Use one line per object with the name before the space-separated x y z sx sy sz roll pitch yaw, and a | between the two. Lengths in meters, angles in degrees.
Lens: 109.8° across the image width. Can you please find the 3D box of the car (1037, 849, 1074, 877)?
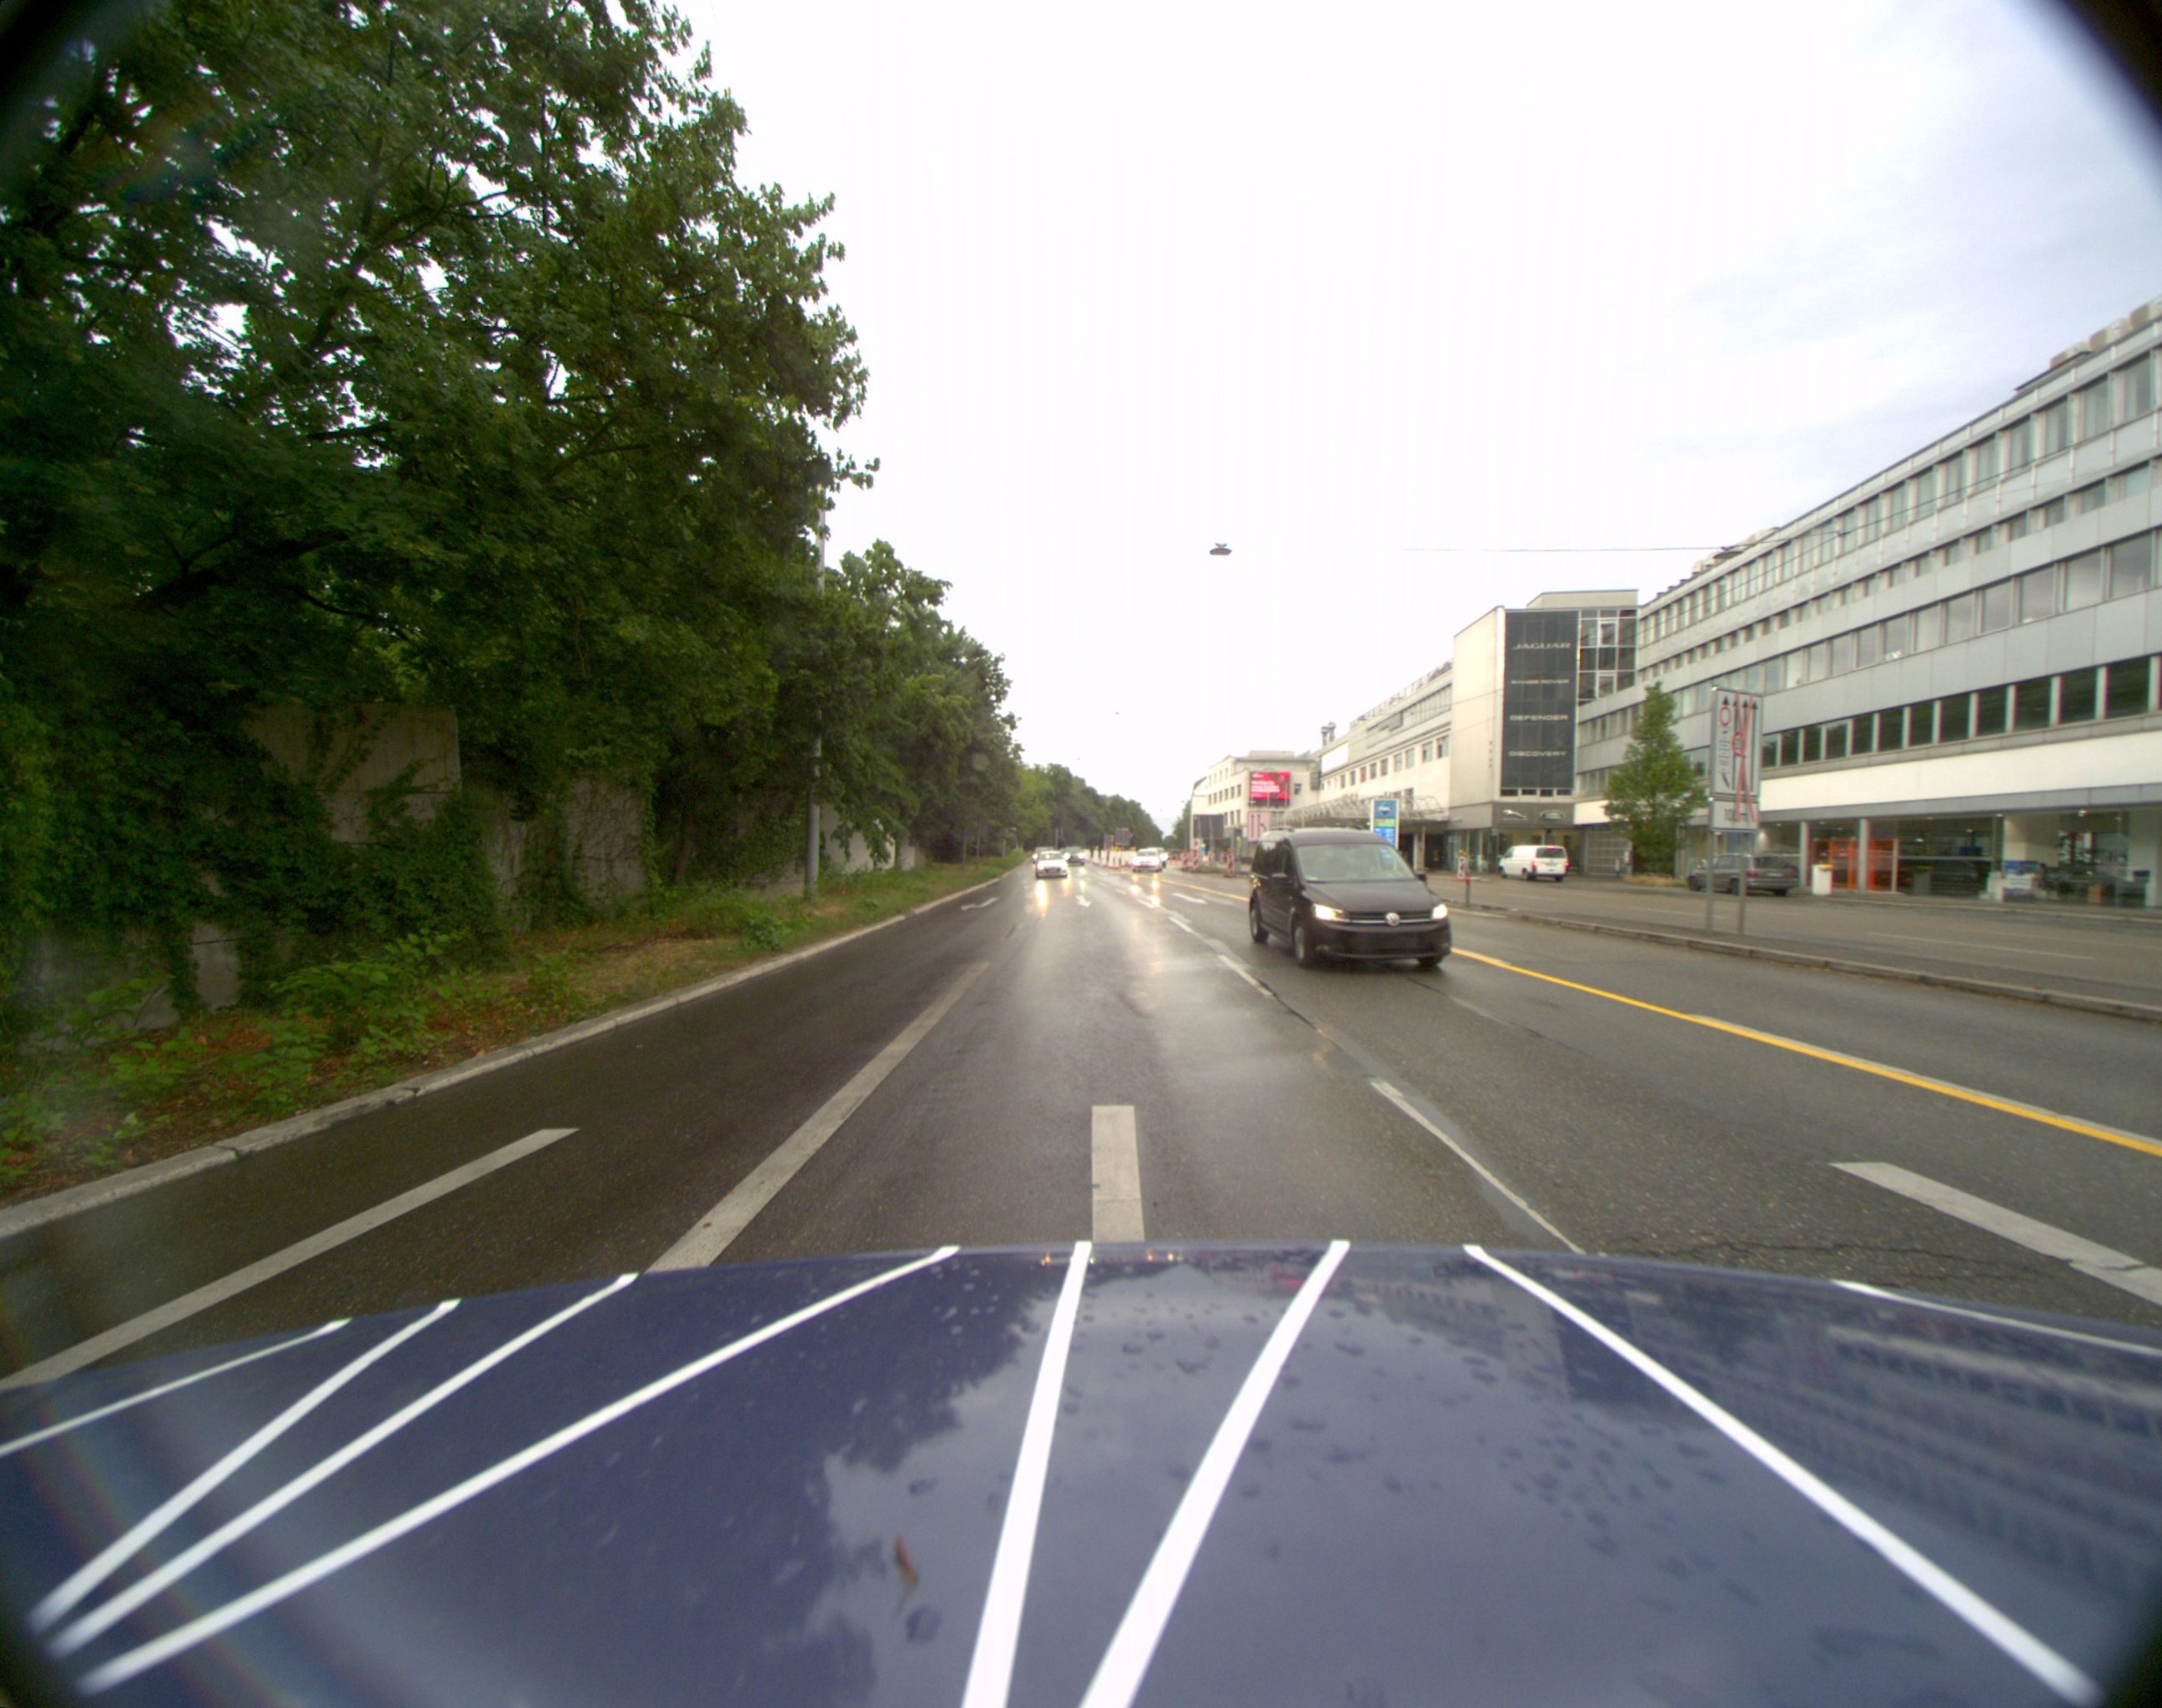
car | -1.442 0.466 43.869 1.814 1.444 4.333 -2 1 2

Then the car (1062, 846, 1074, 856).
car | -2.315 -0.480 131.716 1.814 1.590 4.333 -2 1 2

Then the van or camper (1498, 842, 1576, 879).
van or camper | 25.281 0.318 42.348 1.939 1.913 4.686 0 1 6

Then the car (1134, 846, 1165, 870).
car | 4.531 0.256 49.789 1.770 1.407 4.335 -2 1 8

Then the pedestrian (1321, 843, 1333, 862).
pedestrian | 23.851 -0.175 73.744 0.895 1.804 0.941 -2 1 5

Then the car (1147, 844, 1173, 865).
car | 6.395 -0.007 61.648 1.771 1.608 3.949 -2 1 2

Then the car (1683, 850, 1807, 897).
car | 28.252 0.770 32.512 1.922 1.805 4.166 -2 1 6

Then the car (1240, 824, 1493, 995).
car | 3.582 0.579 10.517 1.905 1.804 4.430 -2 1 2

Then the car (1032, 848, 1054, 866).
car | -3.733 0.276 74.832 1.814 1.590 4.333 -2 1 2

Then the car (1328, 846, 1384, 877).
car | 15.438 0.417 42.806 1.805 1.523 3.765 4 0 1

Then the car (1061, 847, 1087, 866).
car | -0.654 0.195 66.916 1.815 1.590 4.330 -2 1 -5
